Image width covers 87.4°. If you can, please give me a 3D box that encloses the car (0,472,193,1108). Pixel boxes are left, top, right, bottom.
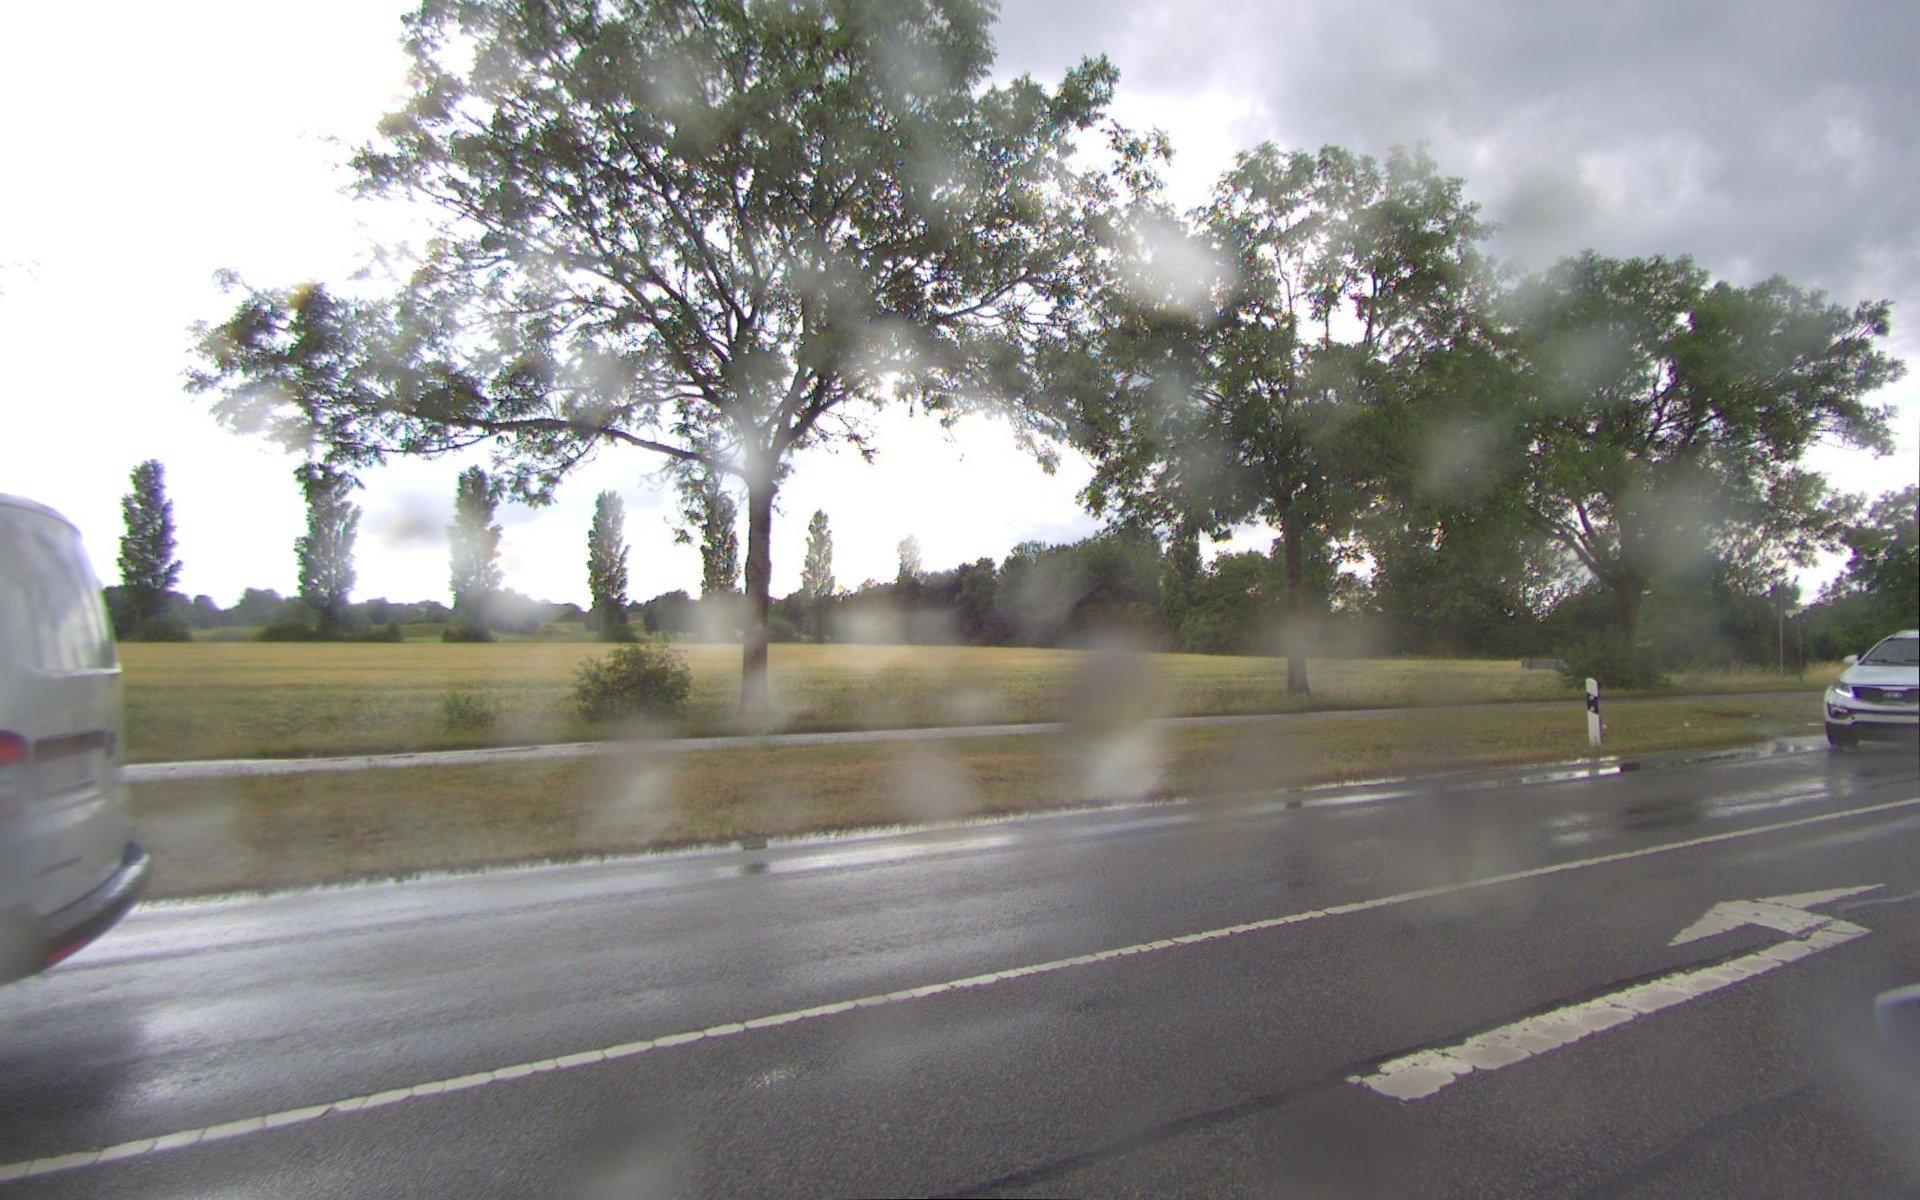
[{"bbox_3d":[-5.176,0.548,2.731,4.630,1.885,1.908,2,-4,-31],"label":"car"}]

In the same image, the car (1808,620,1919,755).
[{"bbox_3d":[13.770,1.166,13.932,4.105,1.693,1.697,1,-4,-29],"label":"car"}]
